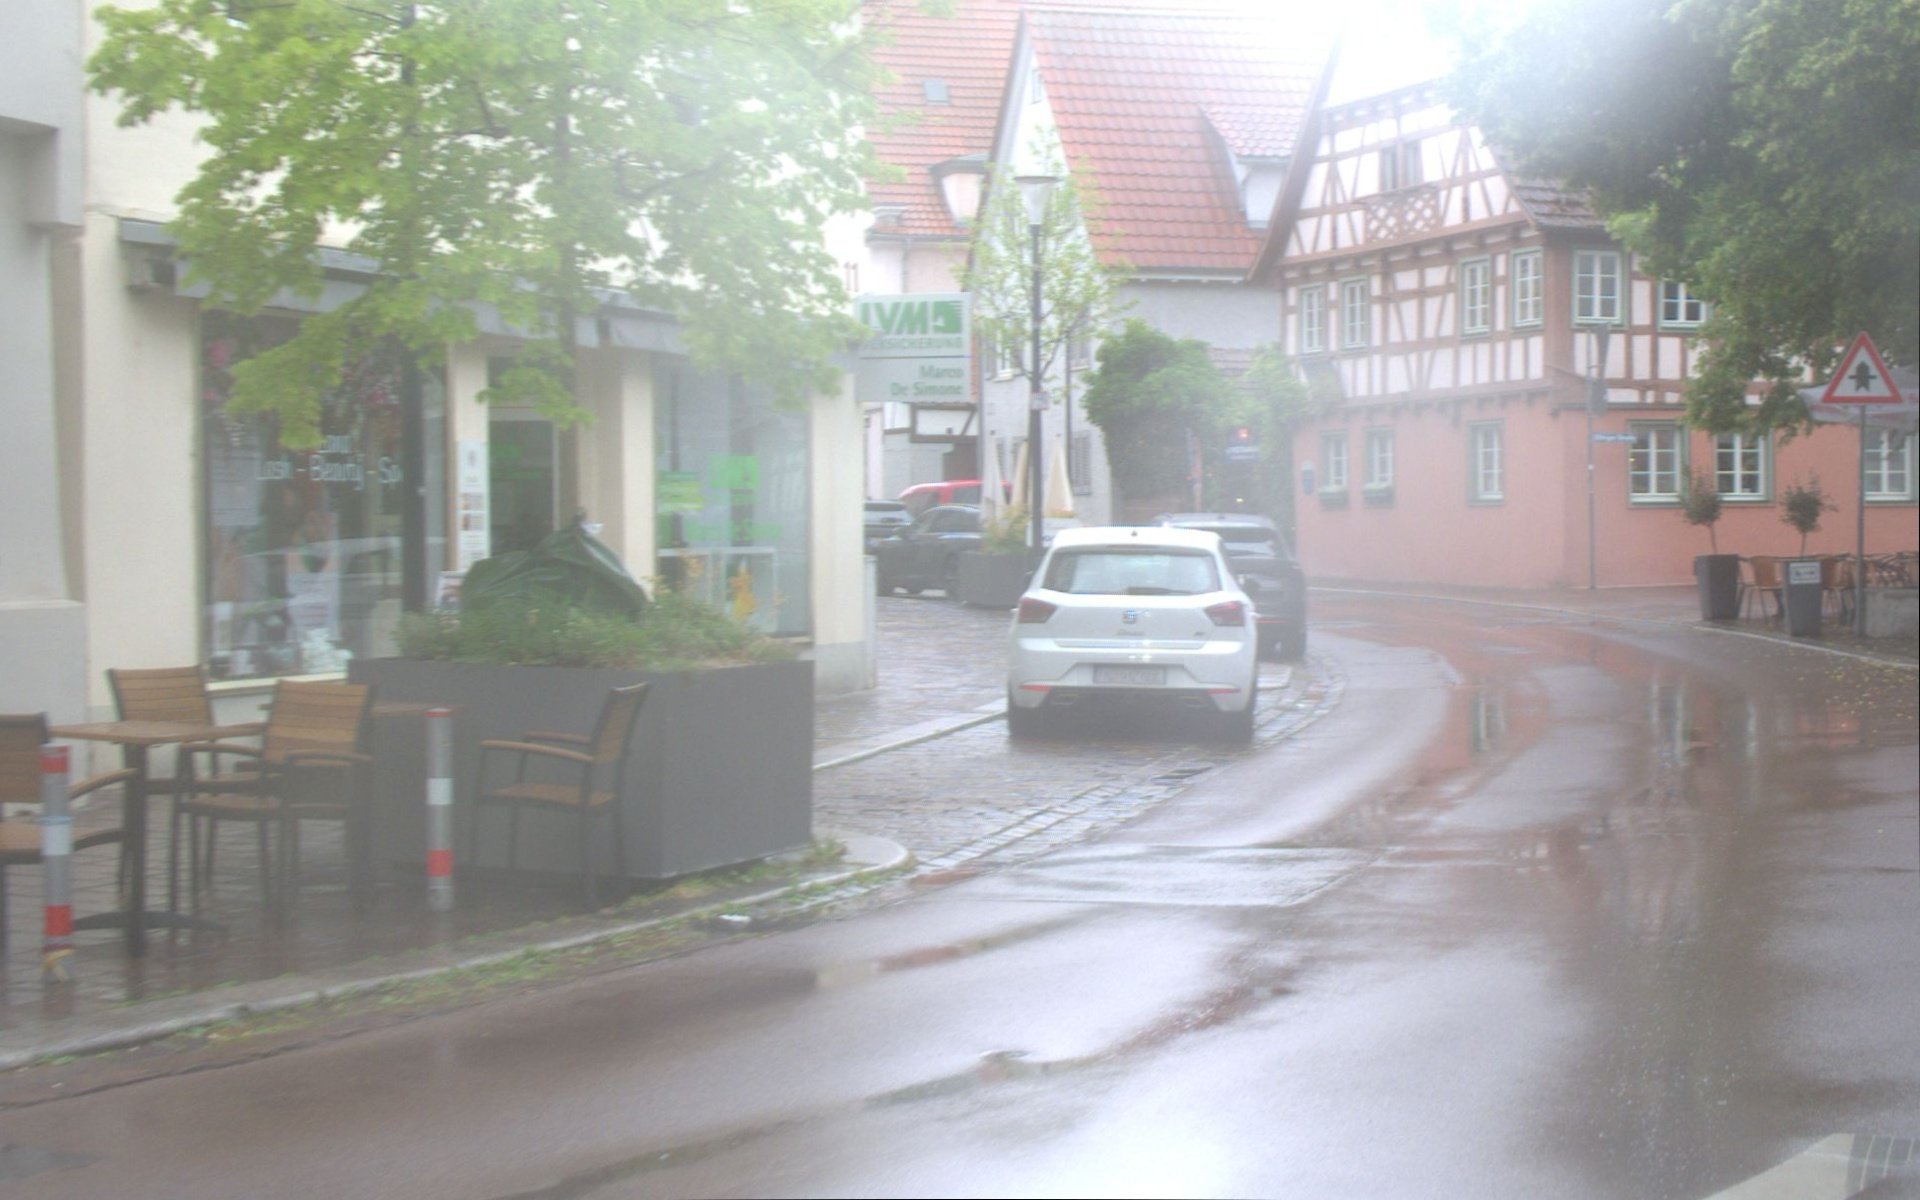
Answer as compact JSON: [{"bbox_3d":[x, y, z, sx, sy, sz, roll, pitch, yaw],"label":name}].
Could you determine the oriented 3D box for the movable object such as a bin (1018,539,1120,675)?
[{"bbox_3d":[0.944,0.059,29.681,0.700,1.118,0.718,3,0,13],"label":"movable object such as a bin"}]

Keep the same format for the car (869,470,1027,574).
[{"bbox_3d":[-0.256,-1.486,64.460,1.893,1.805,4.002,2,2,-16],"label":"car"}]

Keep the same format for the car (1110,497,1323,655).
[{"bbox_3d":[2.618,-0.240,36.042,1.875,1.535,4.400,1,0,0],"label":"car"}]

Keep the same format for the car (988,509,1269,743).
[{"bbox_3d":[1.294,0.116,24.817,1.849,1.447,4.072,1,3,5],"label":"car"}]
